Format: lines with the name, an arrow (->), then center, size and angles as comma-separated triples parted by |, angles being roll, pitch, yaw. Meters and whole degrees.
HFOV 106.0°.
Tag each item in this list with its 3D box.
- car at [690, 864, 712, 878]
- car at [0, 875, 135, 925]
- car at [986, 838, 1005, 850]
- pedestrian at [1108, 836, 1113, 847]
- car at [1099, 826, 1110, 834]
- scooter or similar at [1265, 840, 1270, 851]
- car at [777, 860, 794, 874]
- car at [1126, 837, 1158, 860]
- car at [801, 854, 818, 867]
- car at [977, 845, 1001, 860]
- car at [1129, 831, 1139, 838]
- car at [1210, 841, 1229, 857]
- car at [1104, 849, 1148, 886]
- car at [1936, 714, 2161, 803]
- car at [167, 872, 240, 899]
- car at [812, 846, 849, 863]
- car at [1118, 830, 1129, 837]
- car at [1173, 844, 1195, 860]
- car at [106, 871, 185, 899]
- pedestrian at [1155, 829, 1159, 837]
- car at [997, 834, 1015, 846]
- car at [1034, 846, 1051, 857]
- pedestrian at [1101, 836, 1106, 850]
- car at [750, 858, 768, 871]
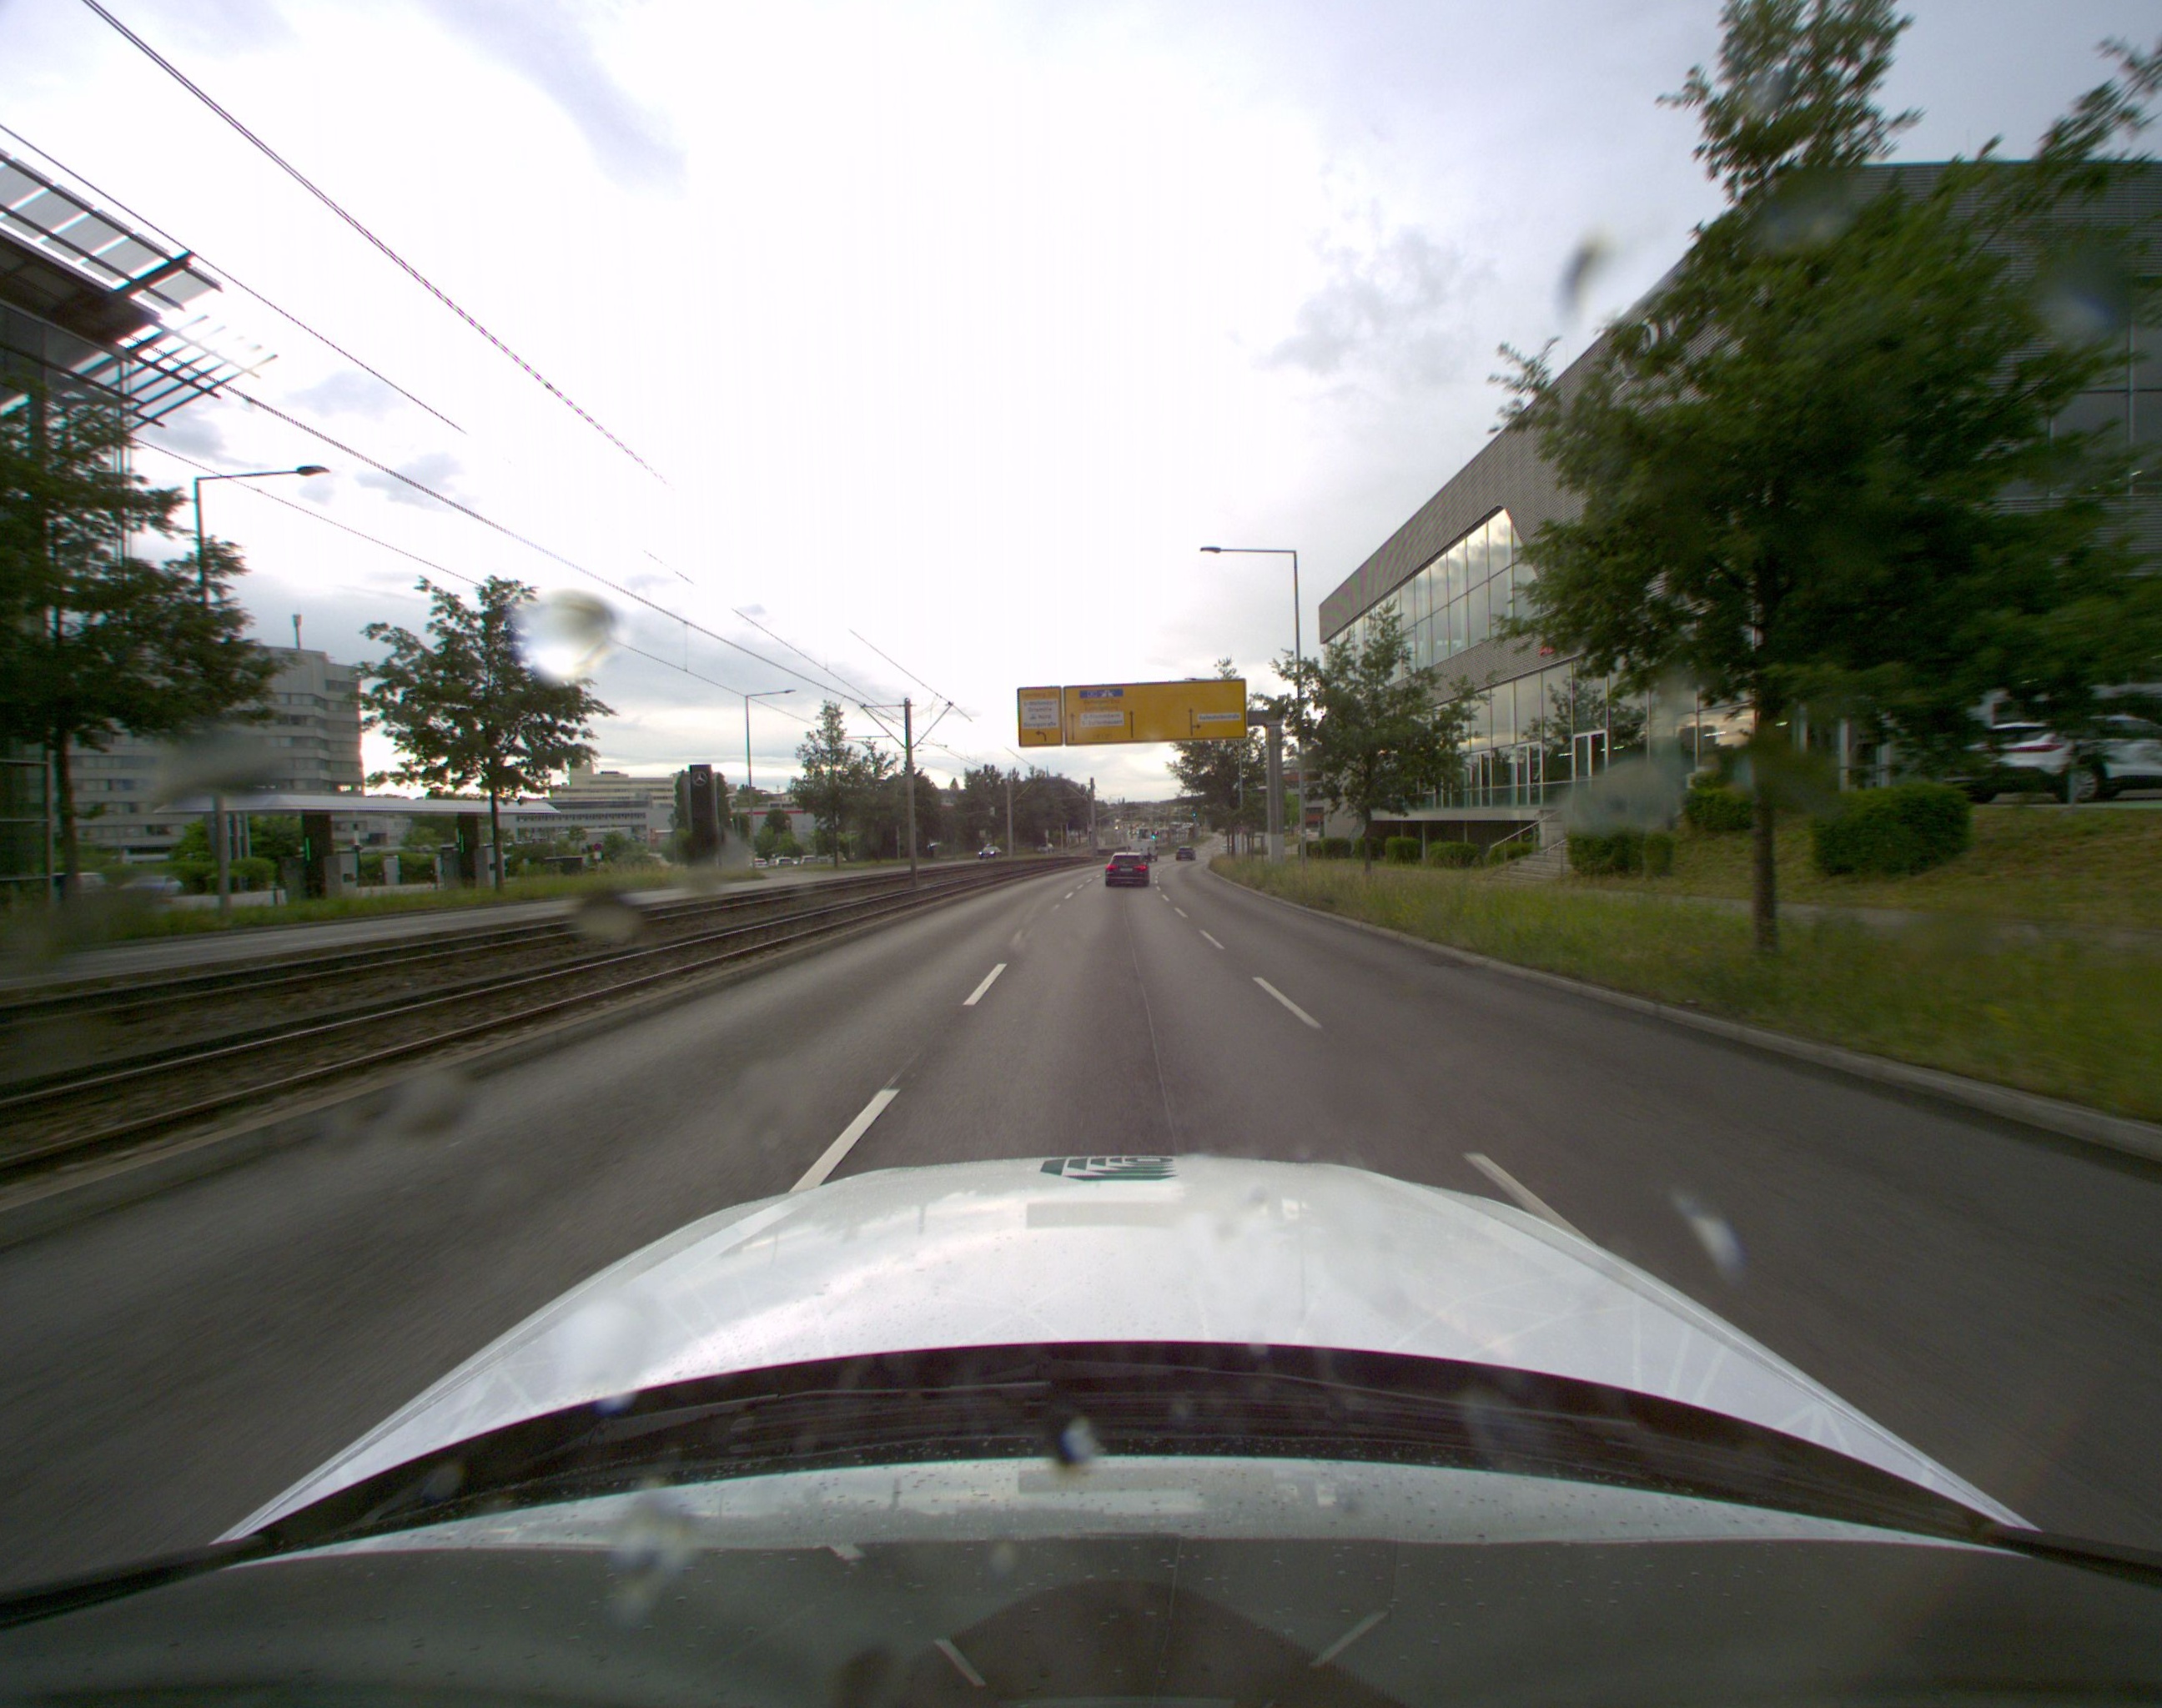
car -> -42.085, 1.901, 90.253 | 1.757, 1.494, 3.973 | 1, -1, -20
car -> -40.799, 1.789, 32.871 | 1.898, 1.851, 3.966 | 1, -1, -25
car -> -14.829, -1.672, 141.543 | 1.978, 2.014, 4.017 | 0, 0, 16
pedestrian -> 4.800, -2.043, 132.272 | 0.633, 1.854, 0.753 | 0, -1, 13
car -> 7.105, -7.270, 247.804 | 1.999, 2.014, 3.976 | 1, -1, -17
scooter or similar -> 22.861, -1.064, 99.892 | 0.454, 1.263, 1.341 | -3, 0, 11
car -> -34.029, 1.500, 93.779 | 1.757, 1.494, 3.973 | 1, -1, -20
car -> 6.173, -0.489, 81.928 | 2.494, 2.177, 5.167 | 0, -1, 13
car -> -31.630, 0.770, 94.765 | 1.757, 1.494, 3.973 | 1, -1, -20
car -> -10.316, -0.228, 91.699 | 1.874, 1.520, 4.408 | -4, 1, 4
car -> 16.600, -6.176, 255.807 | 1.999, 2.014, 3.976 | 1, -1, -17
car -> 16.958, -0.627, 99.652 | 2.007, 1.769, 4.016 | 0, 3, 14
car -> 1.934, 0.522, 35.407 | 1.757, 1.463, 4.629 | -1, 1, 2
car -> 20.013, -1.861, 16.215 | 4.245, 1.574, 1.692 | -1, 0, 0
car -> -58.999, 2.100, 54.861 | 2.004, 1.728, 3.966 | 1, -1, -26
car -> -24.875, 0.058, 81.004 | 1.983, 1.651, 4.007 | 0, -1, 6
car -> 13.207, -6.269, 254.207 | 1.999, 2.014, 3.976 | 1, -1, -17
car -> 10.953, -0.236, 86.692 | 2.008, 1.623, 4.013 | 0, -1, 12
car -> -61.678, 2.031, 53.805 | 2.004, 1.728, 3.966 | 1, -1, -26
pedestrian -> 17.286, -4.760, 184.684 | 0.747, 1.751, 0.767 | 0, -1, 14
car -> -13.501, -2.492, 146.728 | 1.978, 2.014, 4.017 | 0, 0, 16
car -> -6.328, -0.428, 133.353 | 1.982, 1.679, 4.010 | 0, 1, 9
pedestrian -> 3.200, -1.555, 116.939 | 0.545, 1.953, 0.666 | 0, -1, 10
car -> -36.587, 1.206, 92.690 | 1.757, 1.494, 3.973 | 1, -1, -20
